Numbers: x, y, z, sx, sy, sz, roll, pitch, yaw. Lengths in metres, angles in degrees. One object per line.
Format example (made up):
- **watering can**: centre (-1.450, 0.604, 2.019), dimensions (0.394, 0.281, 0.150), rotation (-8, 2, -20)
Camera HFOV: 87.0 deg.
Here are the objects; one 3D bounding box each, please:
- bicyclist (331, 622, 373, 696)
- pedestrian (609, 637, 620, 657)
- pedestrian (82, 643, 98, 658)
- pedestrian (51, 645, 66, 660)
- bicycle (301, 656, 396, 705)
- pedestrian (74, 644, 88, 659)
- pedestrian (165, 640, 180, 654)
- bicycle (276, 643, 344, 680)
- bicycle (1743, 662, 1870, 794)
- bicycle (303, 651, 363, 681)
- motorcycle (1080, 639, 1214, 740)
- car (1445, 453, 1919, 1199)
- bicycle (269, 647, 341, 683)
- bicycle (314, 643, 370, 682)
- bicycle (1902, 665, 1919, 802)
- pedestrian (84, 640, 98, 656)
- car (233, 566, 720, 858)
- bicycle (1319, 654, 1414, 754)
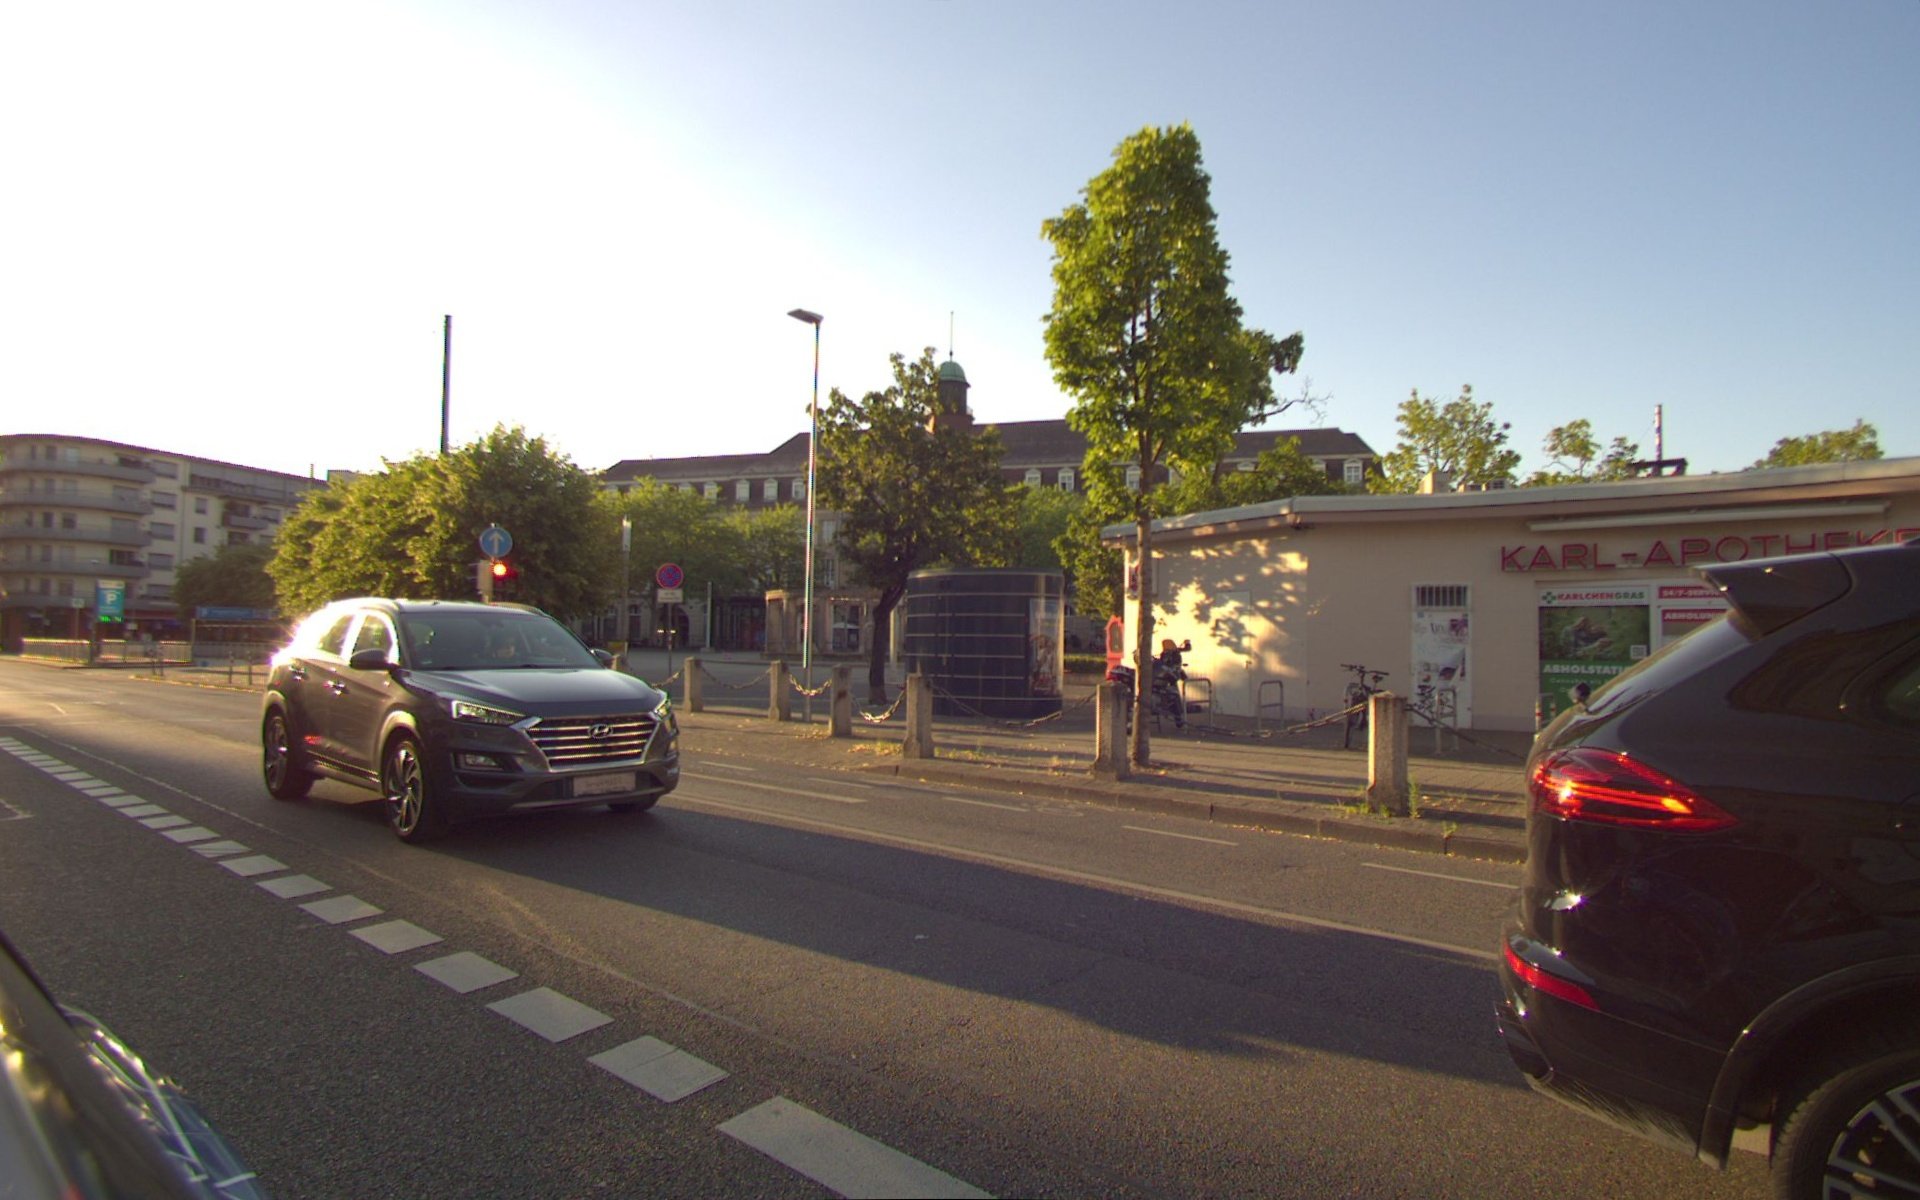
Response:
- **bicyclist**: centre (-14.644, 1.421, 24.384), dimensions (0.766, 1.737, 0.857), rotation (3, -4, -34)
- **pedestrian**: centre (-18.793, 2.551, 55.062), dimensions (0.454, 1.071, 0.531), rotation (0, -3, -30)
- **pedestrian**: centre (-74.747, 4.339, 86.946), dimensions (0.814, 1.332, 0.684), rotation (-1, -3, 16)
- **pedestrian**: centre (-74.722, 4.358, 83.884), dimensions (0.875, 1.201, 0.734), rotation (2, -4, -40)
- **bicycle**: centre (-14.720, 1.931, 24.394), dimensions (1.889, 1.126, 0.707), rotation (3, -4, -33)
- **pedestrian**: centre (-74.753, 4.366, 86.022), dimensions (0.888, 1.332, 0.723), rotation (-2, -4, 39)
- **pedestrian**: centre (-71.660, 4.265, 92.075), dimensions (0.721, 1.332, 0.891), rotation (1, -3, -11)
- **bicycle**: centre (-23.323, 2.186, 36.357), dimensions (0.548, 1.262, 2.007), rotation (-2, -2, 36)
- **bicycle**: centre (9.188, 1.318, 10.975), dimensions (0.949, 1.266, 1.984), rotation (-2, -4, 41)
- **bicycle**: centre (-21.495, 2.245, 34.730), dimensions (0.548, 0.986, 1.658), rotation (-2, -2, 36)
- **motorcycle**: centre (2.963, 1.354, 15.775), dimensions (0.868, 1.440, 2.554), rotation (-2, -4, 41)
- **car**: centre (3.449, 0.613, 1.553), dimensions (4.556, 1.727, 1.929), rotation (-2, -4, 39)
- **bicycle**: centre (-22.452, 2.209, 34.713), dimensions (0.548, 1.143, 2.007), rotation (-2, -2, 36)
- **bicycle**: centre (-21.038, 2.124, 34.465), dimensions (0.444, 1.262, 1.571), rotation (-2, -2, 38)
- **bicycle**: centre (10.039, 1.295, 10.128), dimensions (0.787, 1.266, 2.418), rotation (-2, -4, 41)
- **pedestrian**: centre (-74.275, 4.110, 86.515), dimensions (0.887, 1.332, 0.723), rotation (-2, -3, 38)
- **car**: centre (-4.034, 0.766, 8.093), dimensions (4.447, 1.702, 1.853), rotation (-2, -5, 41)
- **bicycle**: centre (5.619, 1.392, 13.946), dimensions (0.632, 1.266, 1.834), rotation (-2, -4, 41)
